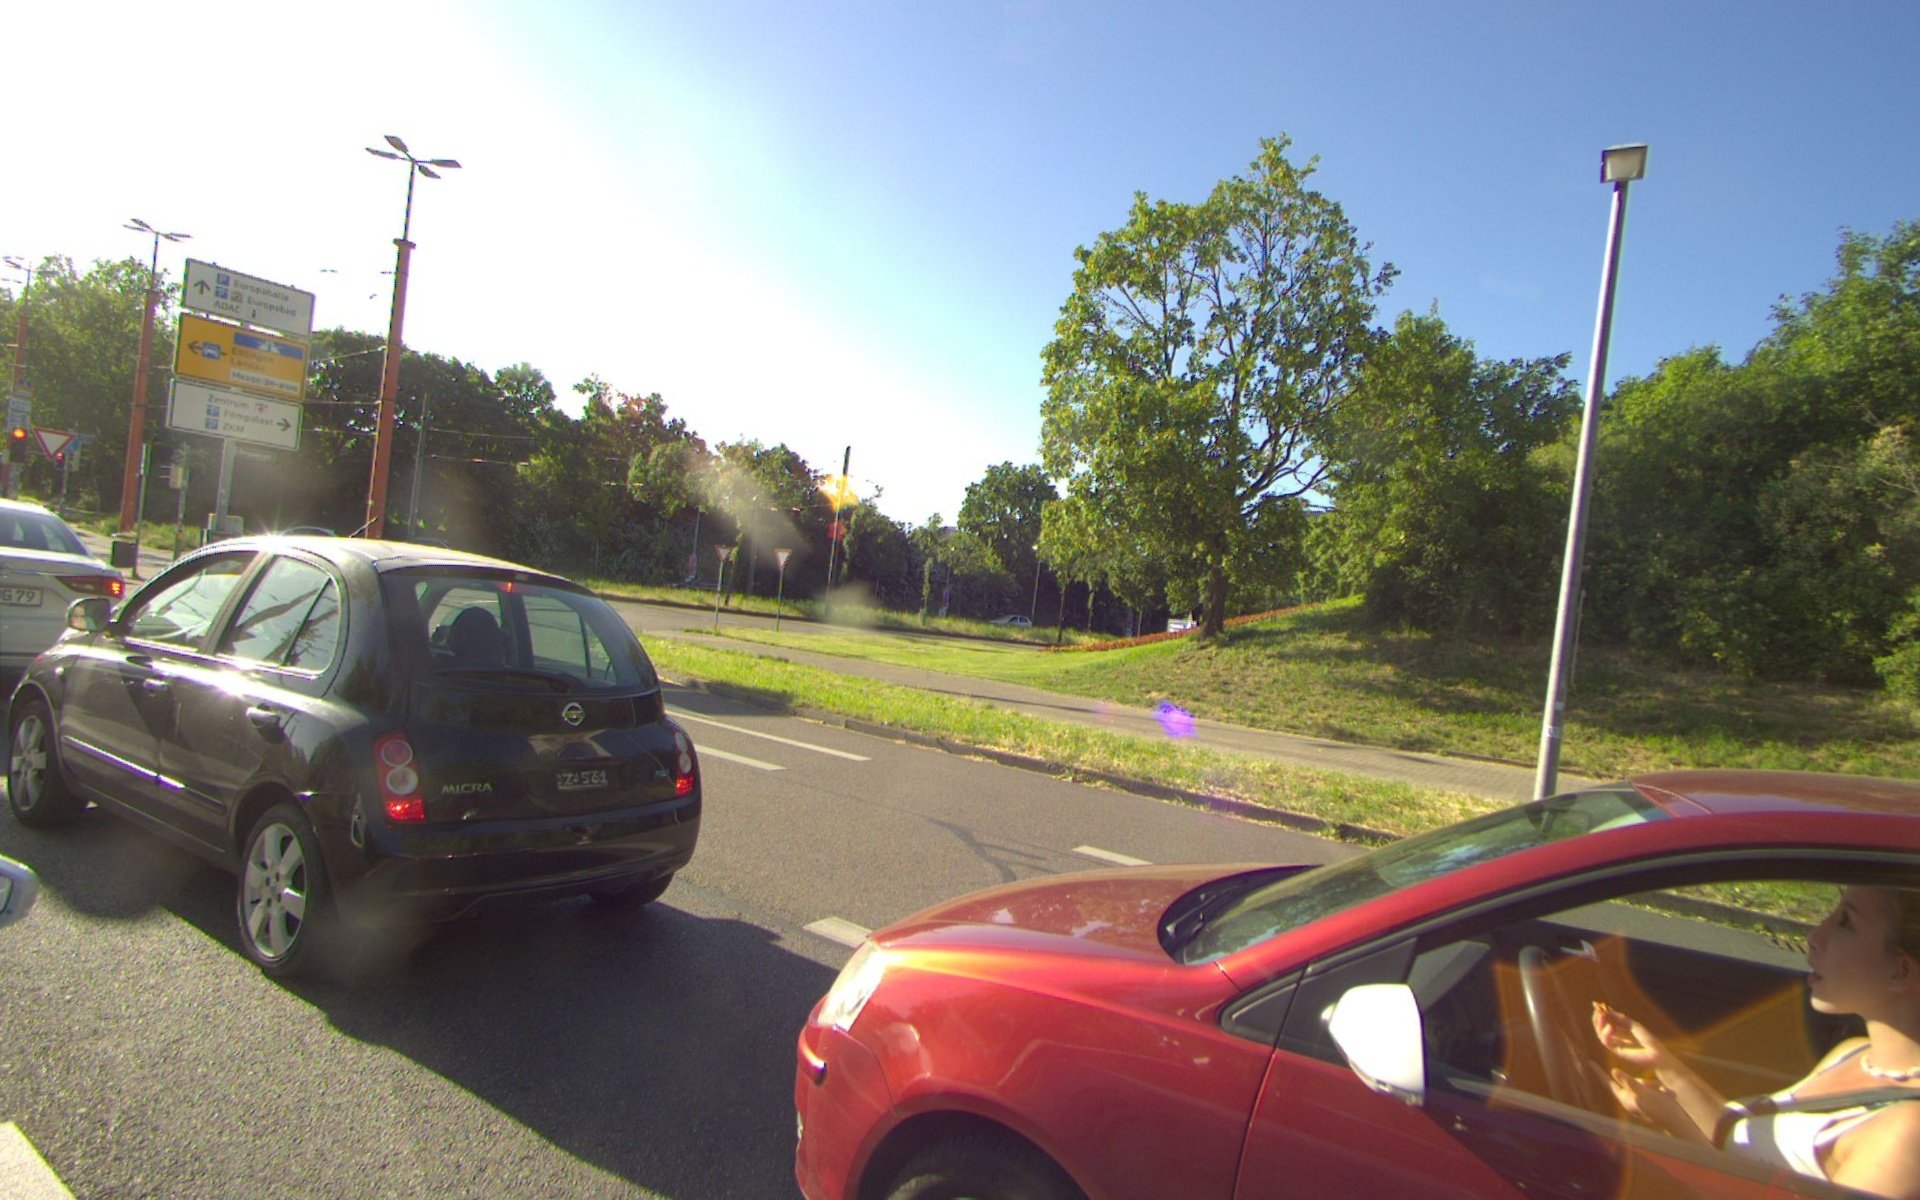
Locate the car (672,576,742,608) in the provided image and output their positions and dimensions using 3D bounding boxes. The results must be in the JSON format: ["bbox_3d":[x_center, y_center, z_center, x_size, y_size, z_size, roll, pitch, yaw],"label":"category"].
[{"bbox_3d":[-16.871,-0.545,67.061,4.105,1.528,1.644,8,-1,-31],"label":"car"}]

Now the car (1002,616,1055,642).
[{"bbox_3d":[5.484,2.324,80.409,3.764,1.528,1.644,8,-1,-31],"label":"car"}]

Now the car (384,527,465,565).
[{"bbox_3d":[-29.762,-2.982,55.915,3.764,1.528,1.644,8,-1,-31],"label":"car"}]

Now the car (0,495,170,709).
[{"bbox_3d":[-8.377,-0.175,8.084,4.256,1.457,1.802,6,-2,33],"label":"car"}]

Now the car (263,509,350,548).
[{"bbox_3d":[-36.160,-3.924,55.765,3.888,1.474,1.643,8,-1,-32],"label":"car"}]

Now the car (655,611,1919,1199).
[{"bbox_3d":[1.338,1.002,1.873,3.629,1.477,1.579,6,-2,32],"label":"car"}]

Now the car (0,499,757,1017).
[{"bbox_3d":[-2.805,0.467,4.629,3.385,1.457,1.579,6,-2,32],"label":"car"}]
